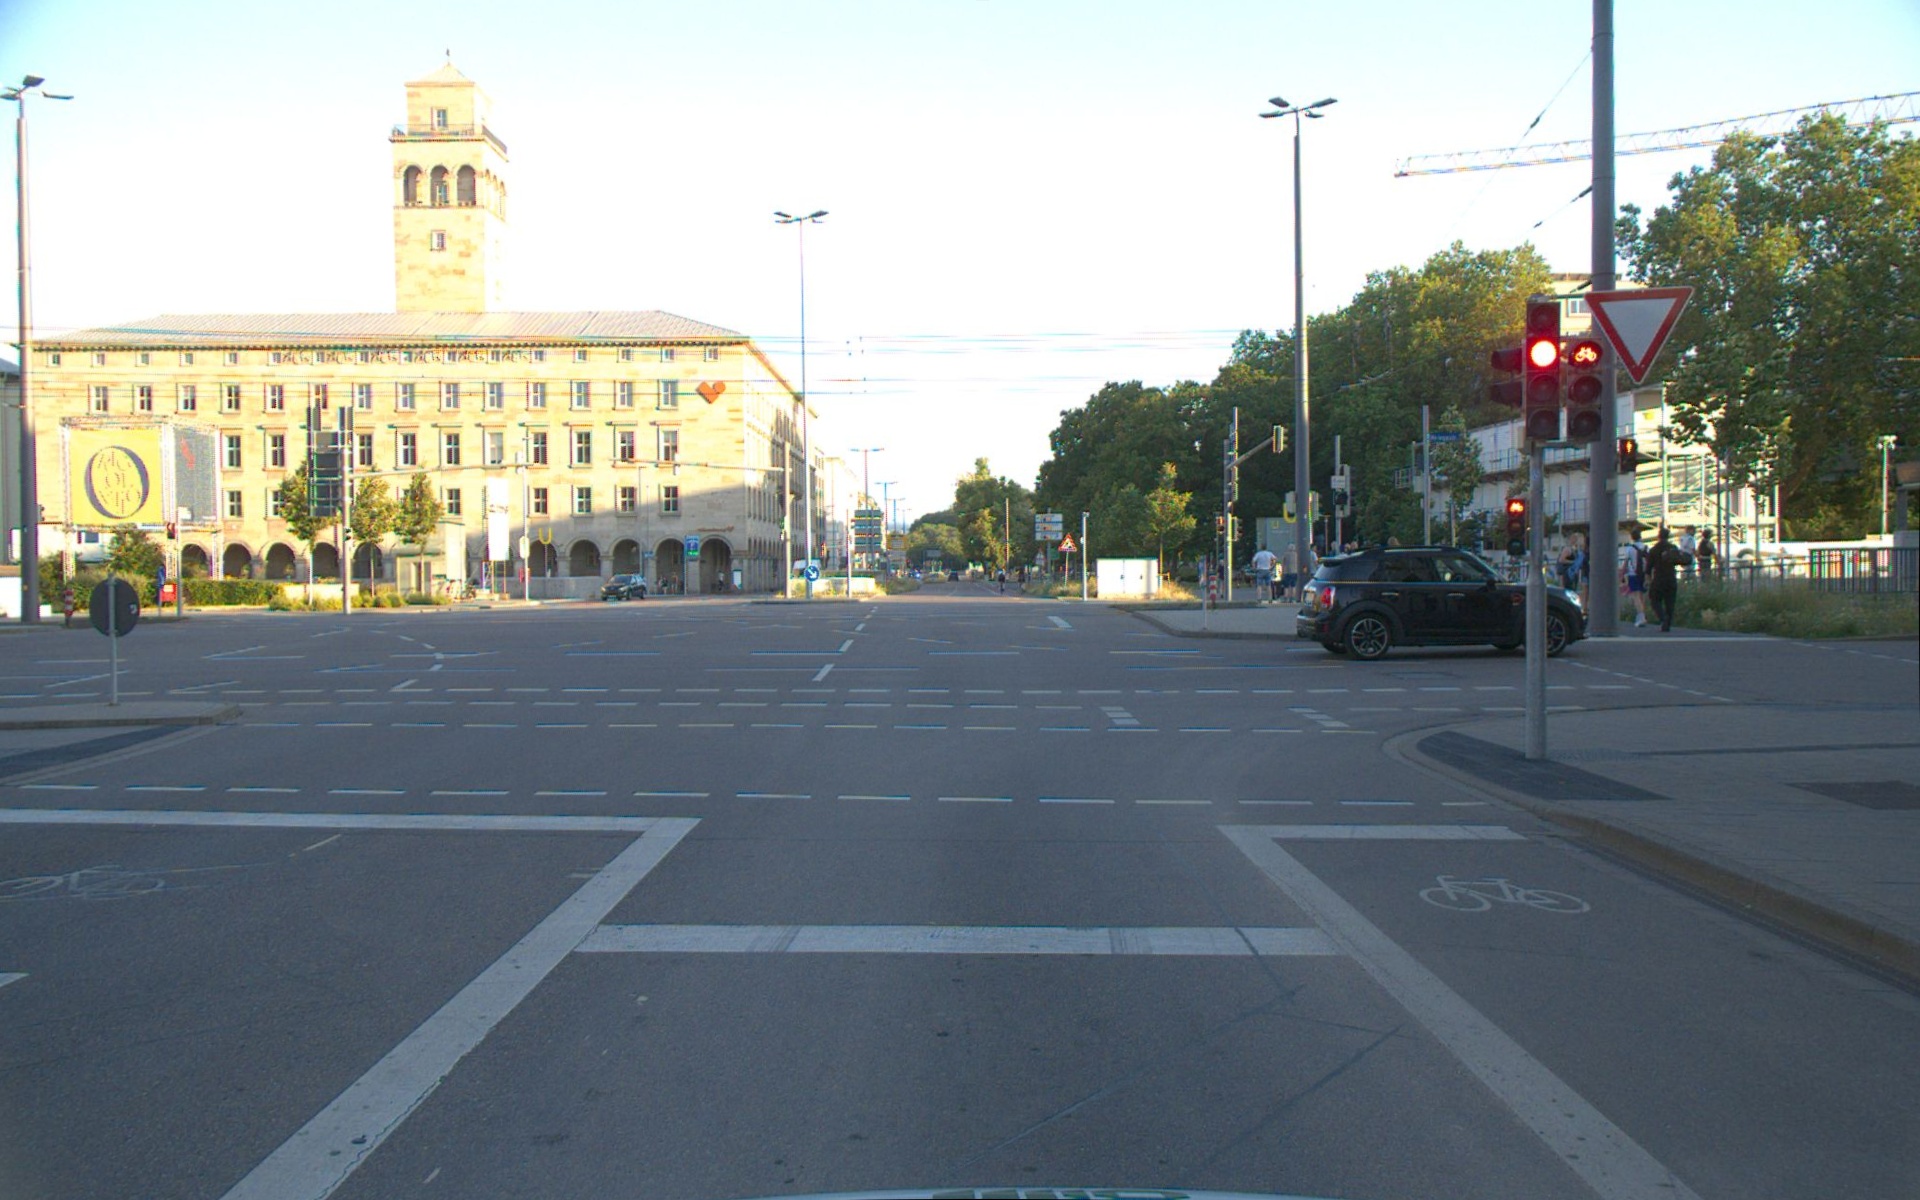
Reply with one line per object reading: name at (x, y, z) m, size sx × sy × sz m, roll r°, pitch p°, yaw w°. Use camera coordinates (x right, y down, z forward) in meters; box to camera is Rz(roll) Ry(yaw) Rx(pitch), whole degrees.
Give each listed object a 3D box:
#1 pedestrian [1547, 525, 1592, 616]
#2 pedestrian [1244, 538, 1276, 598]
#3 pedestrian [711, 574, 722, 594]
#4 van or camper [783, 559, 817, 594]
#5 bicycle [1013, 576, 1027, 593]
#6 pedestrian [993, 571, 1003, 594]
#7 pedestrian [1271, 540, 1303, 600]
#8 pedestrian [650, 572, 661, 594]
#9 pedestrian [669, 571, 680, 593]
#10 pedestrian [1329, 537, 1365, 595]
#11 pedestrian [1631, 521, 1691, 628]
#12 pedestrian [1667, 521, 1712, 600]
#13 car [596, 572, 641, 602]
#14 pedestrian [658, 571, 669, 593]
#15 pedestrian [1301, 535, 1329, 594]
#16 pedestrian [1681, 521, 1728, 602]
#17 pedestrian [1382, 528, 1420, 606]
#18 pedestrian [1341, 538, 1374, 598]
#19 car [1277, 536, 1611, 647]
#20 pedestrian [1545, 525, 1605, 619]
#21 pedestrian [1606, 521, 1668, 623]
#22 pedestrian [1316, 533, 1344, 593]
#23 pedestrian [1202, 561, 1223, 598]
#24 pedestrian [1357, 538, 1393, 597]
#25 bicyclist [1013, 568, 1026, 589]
pedestrian at (11.963, -0.580, 32.491) m, size 0.671 × 1.760 × 0.896 m, roll -1°, pitch 1°, yaw 10°
pedestrian at (8.908, -0.940, 49.080) m, size 0.792 × 1.760 × 0.688 m, roll -1°, pitch 1°, yaw -2°
pedestrian at (-20.070, -1.324, 136.359) m, size 0.757 × 1.595 × 0.636 m, roll -1°, pitch 1°, yaw 0°
van or camper at (-12.918, -1.928, 133.671) m, size 1.844 × 2.808 × 4.935 m, roll -1°, pitch 1°, yaw 4°
bicycle at (3.589, -0.905, 98.977) m, size 0.638 × 0.987 × 1.483 m, roll -1°, pitch 1°, yaw -4°
pedestrian at (2.284, -1.072, 99.802) m, size 0.512 × 1.398 × 0.687 m, roll -1°, pitch 1°, yaw -4°
pedestrian at (9.715, -0.883, 49.115) m, size 0.792 × 1.760 × 0.688 m, roll -1°, pitch 1°, yaw -2°
pedestrian at (-22.732, -1.261, 123.532) m, size 0.620 × 1.595 × 0.775 m, roll -1°, pitch 1°, yaw 1°
pedestrian at (-21.315, -1.350, 123.457) m, size 0.620 × 1.595 × 0.775 m, roll -1°, pitch 1°, yaw 1°
pedestrian at (11.879, -1.049, 50.759) m, size 0.679 × 1.760 × 0.801 m, roll -1°, pitch 1°, yaw -33°
pedestrian at (12.387, -0.457, 29.235) m, size 0.877 × 1.862 × 0.686 m, roll 0°, pitch 1°, yaw 32°
pedestrian at (16.587, -0.891, 37.630) m, size 0.671 × 1.760 × 0.839 m, roll -1°, pitch 1°, yaw 3°
car at (-20.675, -0.796, 100.315) m, size 1.953 × 1.691 × 3.999 m, roll -1°, pitch 1°, yaw -2°
pedestrian at (-21.969, -1.323, 122.546) m, size 0.620 × 1.595 × 0.775 m, roll -1°, pitch 1°, yaw 1°
pedestrian at (10.712, -1.064, 49.951) m, size 0.791 × 1.760 × 0.688 m, roll -1°, pitch 1°, yaw 12°
pedestrian at (16.569, -0.858, 36.811) m, size 0.671 × 1.760 × 0.839 m, roll -1°, pitch 1°, yaw 2°
pedestrian at (10.176, -0.761, 38.174) m, size 0.677 × 1.760 × 0.741 m, roll -1°, pitch 1°, yaw 1°
pedestrian at (11.790, -0.961, 49.112) m, size 0.792 × 1.760 × 0.688 m, roll -1°, pitch 1°, yaw -2°
car at (7.143, -0.143, 24.774) m, size 4.370 × 1.522 × 2.128 m, roll -1°, pitch 1°, yaw -1°
pedestrian at (11.719, -0.541, 31.537) m, size 0.874 × 1.760 × 0.688 m, roll -1°, pitch 1°, yaw 0°
pedestrian at (12.740, -0.528, 31.146) m, size 0.874 × 1.872 × 0.688 m, roll -1°, pitch 1°, yaw -1°
pedestrian at (11.027, -1.093, 49.264) m, size 0.791 × 1.760 × 0.688 m, roll -1°, pitch 1°, yaw 12°
pedestrian at (12.087, -0.983, 79.145) m, size 0.792 × 1.760 × 0.928 m, roll -1°, pitch 1°, yaw -2°
pedestrian at (12.499, -0.973, 49.825) m, size 0.677 × 1.760 × 0.804 m, roll -1°, pitch 1°, yaw -26°
bicyclist at (3.565, -1.271, 98.951) m, size 0.638 × 1.244 × 0.860 m, roll -1°, pitch 1°, yaw -4°
